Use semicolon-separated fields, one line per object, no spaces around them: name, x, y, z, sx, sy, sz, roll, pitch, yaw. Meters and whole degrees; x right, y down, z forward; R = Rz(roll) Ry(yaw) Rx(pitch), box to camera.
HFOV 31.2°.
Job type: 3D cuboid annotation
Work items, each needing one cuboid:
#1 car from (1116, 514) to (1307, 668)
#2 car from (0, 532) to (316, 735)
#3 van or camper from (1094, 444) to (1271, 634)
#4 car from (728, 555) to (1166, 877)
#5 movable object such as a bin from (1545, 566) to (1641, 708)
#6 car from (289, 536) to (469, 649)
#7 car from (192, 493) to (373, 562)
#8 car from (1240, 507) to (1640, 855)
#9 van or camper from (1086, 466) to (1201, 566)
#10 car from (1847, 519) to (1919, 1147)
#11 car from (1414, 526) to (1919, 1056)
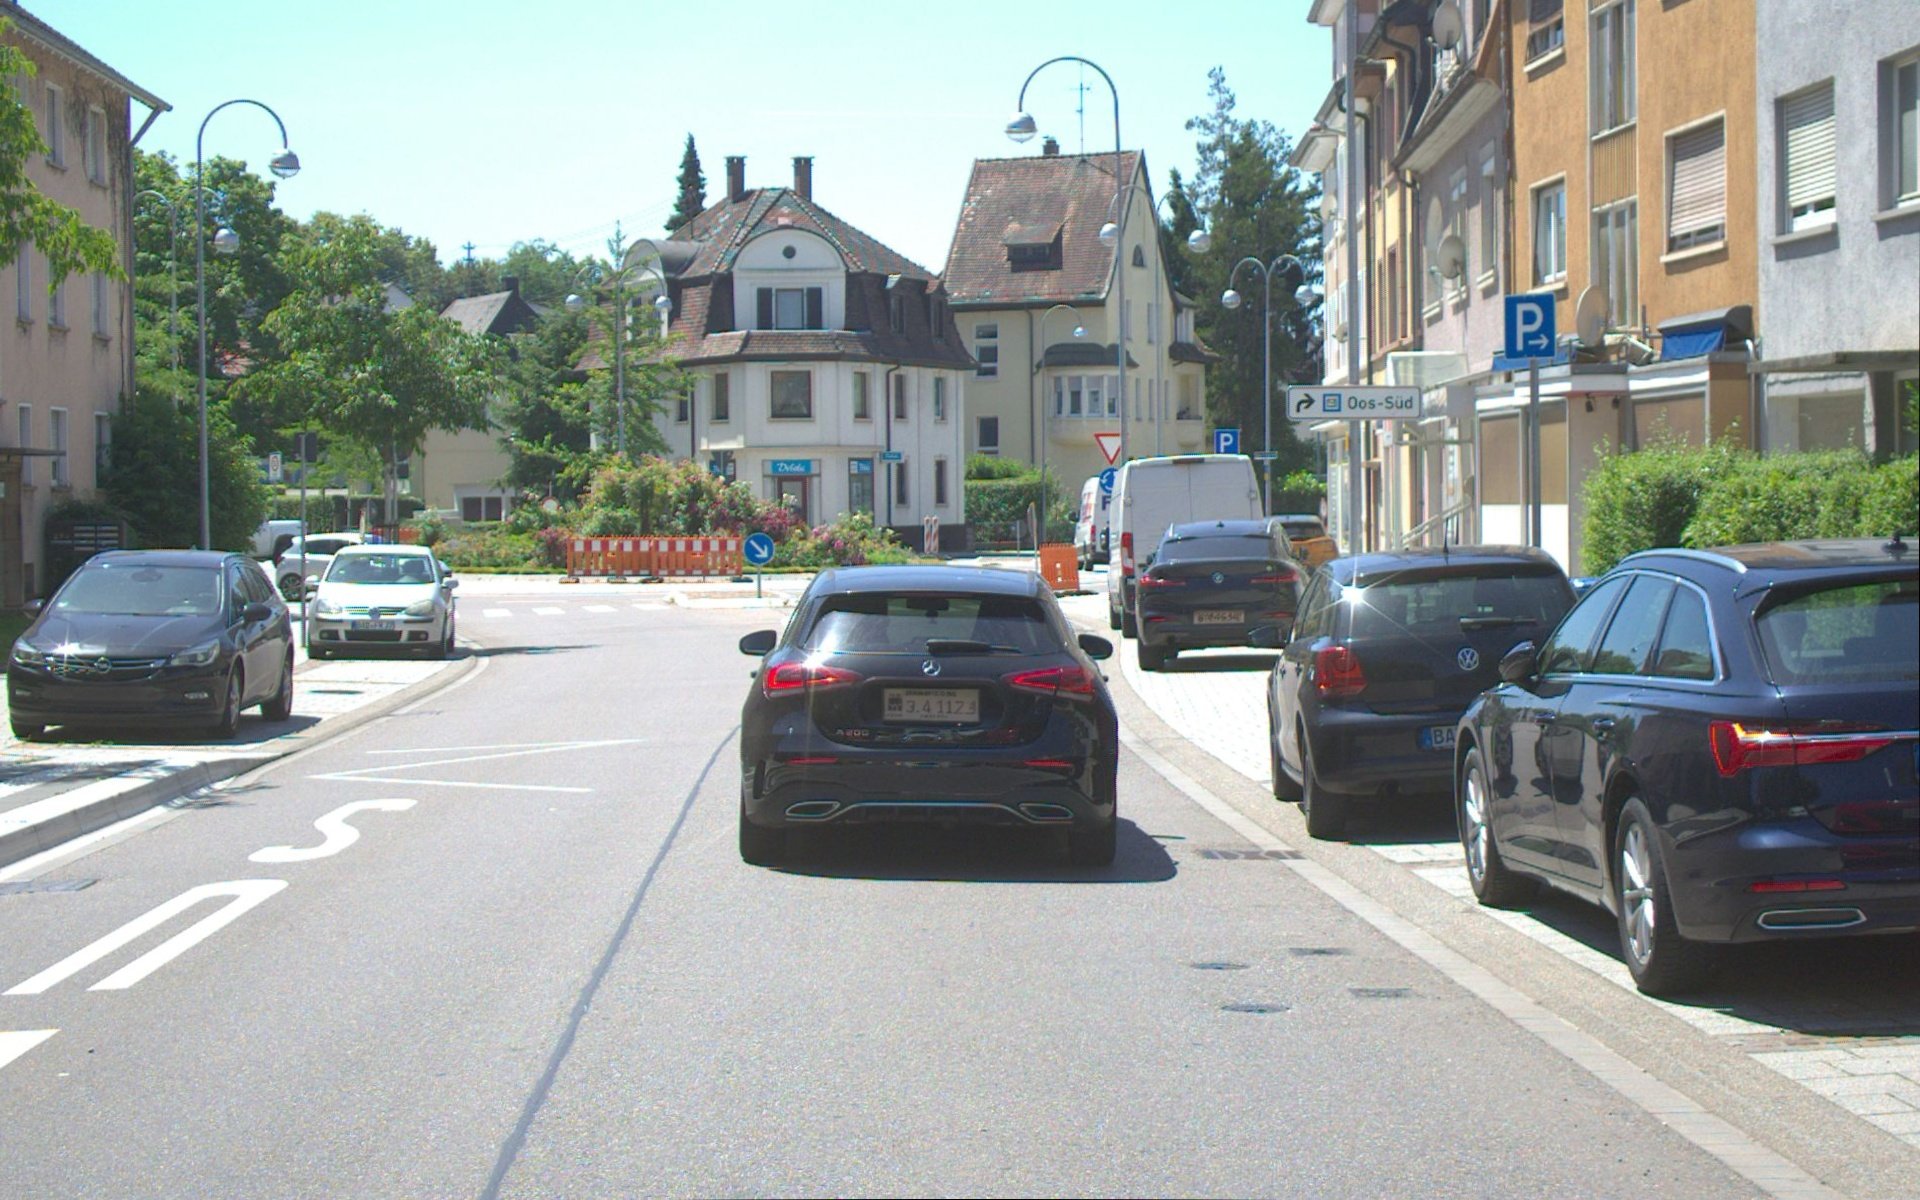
car;2.922;-0.137;39.108;1.896;1.602;4.363;-2;1;7
car;-6.637;0.213;28.761;1.857;1.501;4.563;0;2;-3
van or camper;3.198;-0.921;50.527;2.165;2.580;5.766;-1;1;0
car;-0.098;0.511;17.515;1.953;1.422;4.000;1;0;-1
movable object such as a bin;4.928;0.285;26.785;0.593;1.073;0.647;-1;1;-2
car;-7.578;-0.119;45.150;1.993;1.415;4.089;0;1;-5
car;-18.879;-2.007;96.083;1.997;1.809;5.412;2;2;27
car;2.530;0.348;18.958;1.728;1.627;4.000;-3;2;2
van or camper;4.974;-2.271;92.626;2.207;2.601;3.997;1;2;17
car;3.275;0.578;6.751;1.803;1.524;4.151;-2;2;-2
car;3.012;0.523;12.692;1.803;1.470;4.721;-3;2;-2
